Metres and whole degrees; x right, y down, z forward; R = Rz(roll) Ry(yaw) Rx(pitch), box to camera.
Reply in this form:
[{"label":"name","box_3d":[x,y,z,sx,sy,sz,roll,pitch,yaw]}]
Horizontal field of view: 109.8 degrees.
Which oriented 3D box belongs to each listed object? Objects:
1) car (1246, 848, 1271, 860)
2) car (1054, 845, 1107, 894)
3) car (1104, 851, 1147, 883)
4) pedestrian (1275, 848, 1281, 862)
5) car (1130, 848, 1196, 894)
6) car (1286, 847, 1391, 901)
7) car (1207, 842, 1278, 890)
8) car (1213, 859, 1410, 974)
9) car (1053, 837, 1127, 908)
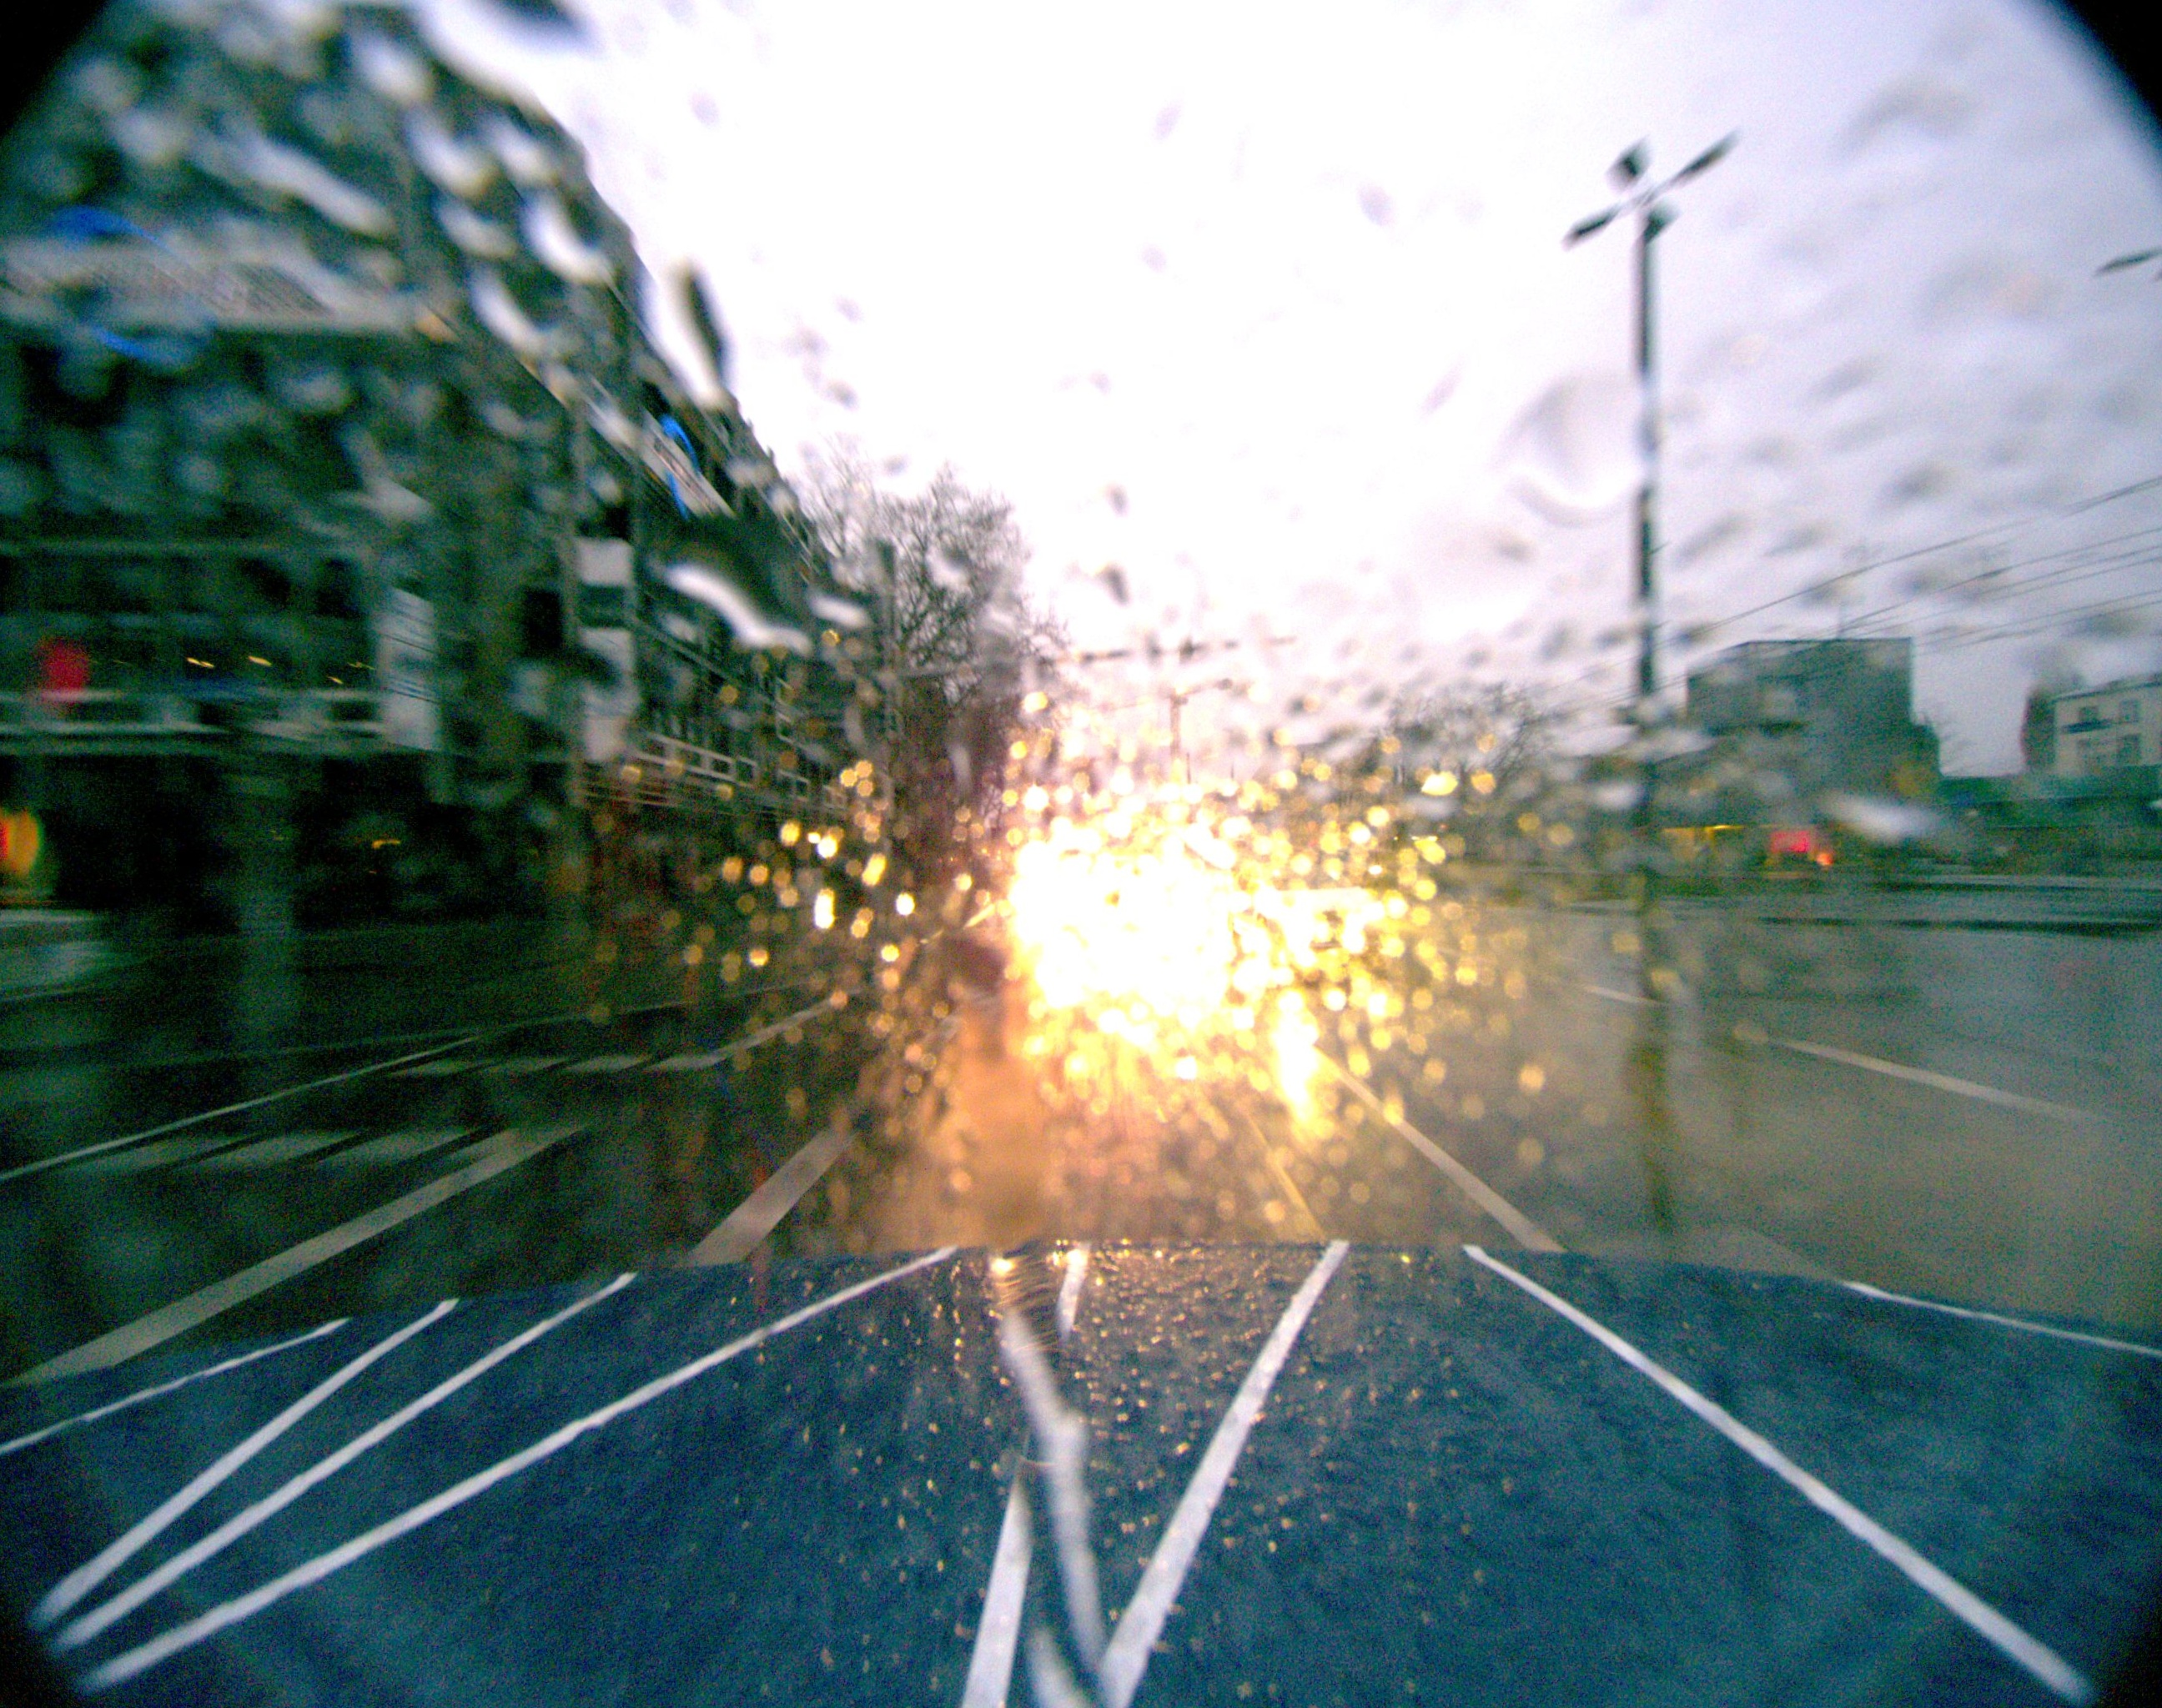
[{"label":"car","box_3d":[21.145,-0.019,90.703,1.785,1.411,3.880,-2,1,-5]},{"label":"car","box_3d":[-0.092,0.638,33.741,1.999,2.002,3.998,-2,1,-4]},{"label":"car","box_3d":[2.470,0.715,43.197,1.868,1.652,3.984,-2,1,-4]},{"label":"pedestrian","box_3d":[23.859,0.087,92.205,0.500,1.659,0.499,-3,1,-14]},{"label":"car","box_3d":[3.260,0.633,30.897,1.999,1.673,3.998,-2,1,-3]},{"label":"car","box_3d":[8.107,0.595,24.284,1.800,1.521,3.927,-3,0,-3]},{"label":"car","box_3d":[6.909,0.480,32.876,1.953,1.871,3.999,-3,0,-3]},{"label":"car","box_3d":[3.482,0.858,12.351,1.814,1.464,4.138,-2,0,-1]},{"label":"car","box_3d":[0.173,0.488,22.896,1.865,1.867,3.998,-2,1,-4]}]
